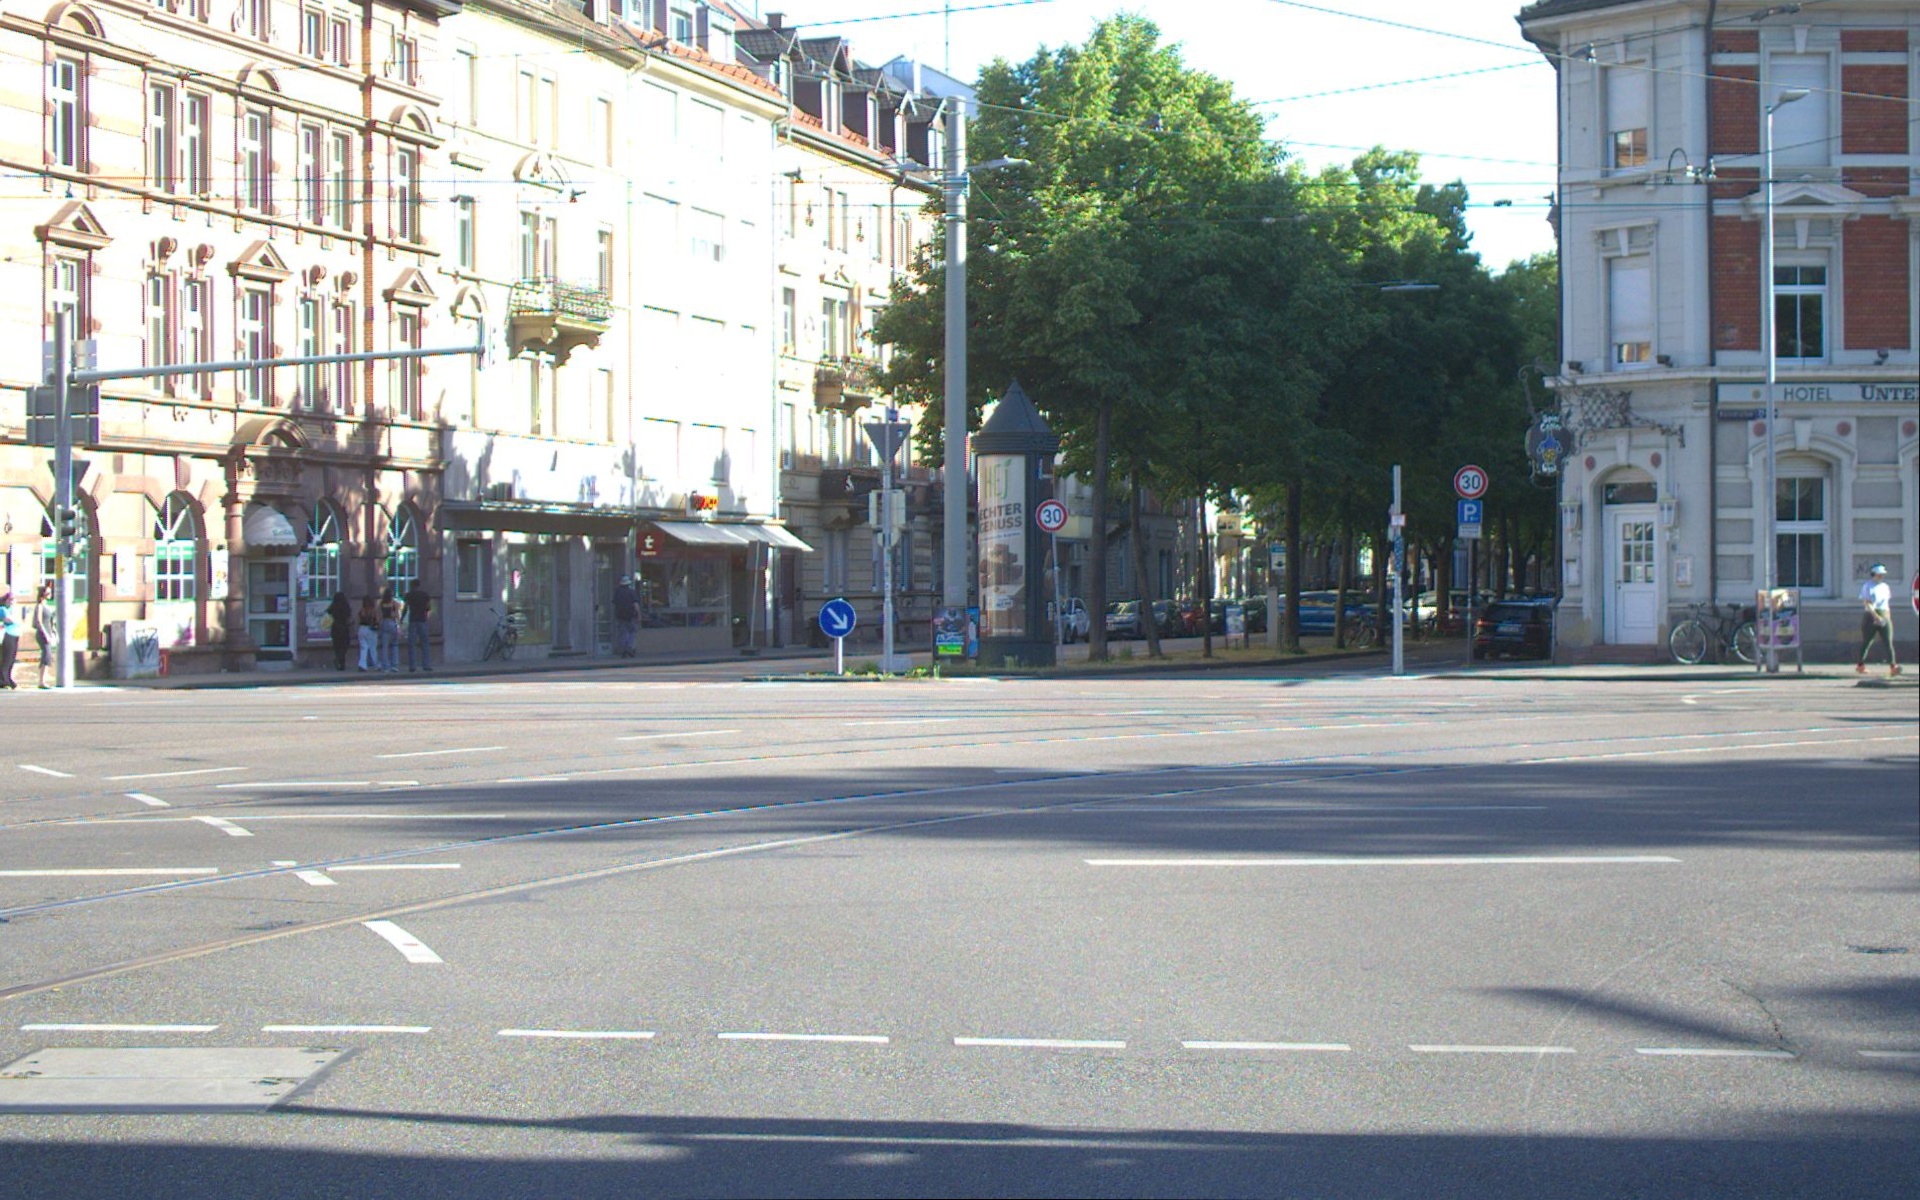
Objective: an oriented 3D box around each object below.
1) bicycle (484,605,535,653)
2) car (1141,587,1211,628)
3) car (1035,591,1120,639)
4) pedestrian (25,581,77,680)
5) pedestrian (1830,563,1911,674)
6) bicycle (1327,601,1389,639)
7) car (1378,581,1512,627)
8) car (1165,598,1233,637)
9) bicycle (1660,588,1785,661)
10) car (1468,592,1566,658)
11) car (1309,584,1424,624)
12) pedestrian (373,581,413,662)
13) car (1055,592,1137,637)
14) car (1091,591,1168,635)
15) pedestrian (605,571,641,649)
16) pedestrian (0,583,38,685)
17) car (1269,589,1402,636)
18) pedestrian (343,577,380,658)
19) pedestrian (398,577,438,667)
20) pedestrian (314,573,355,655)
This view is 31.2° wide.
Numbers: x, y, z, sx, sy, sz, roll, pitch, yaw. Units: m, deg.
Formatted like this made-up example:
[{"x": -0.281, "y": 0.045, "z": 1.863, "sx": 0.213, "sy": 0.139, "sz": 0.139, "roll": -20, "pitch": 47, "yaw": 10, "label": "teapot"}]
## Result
[{"x": -10.378, "y": 0.666, "z": 79.225, "sx": 0.495, "sy": 1.063, "sz": 1.768, "roll": 0, "pitch": 1, "yaw": 16, "label": "bicycle"}, {"x": 8.285, "y": 0.268, "z": 131.477, "sx": 1.995, "sy": 1.492, "sz": 4.031, "roll": 0, "pitch": 1, "yaw": 14, "label": "car"}, {"x": 3.876, "y": 0.483, "z": 112.539, "sx": 1.995, "sy": 1.492, "sz": 4.031, "roll": 0, "pitch": 1, "yaw": 14, "label": "car"}, {"x": -15.045, "y": 0.504, "z": 56.896, "sx": 0.631, "sy": 1.636, "sz": 0.552, "roll": 0, "pitch": 0, "yaw": 13, "label": "pedestrian"}, {"x": 13.774, "y": 0.274, "z": 52.002, "sx": 0.715, "sy": 1.664, "sz": 0.939, "roll": -1, "pitch": 0, "yaw": -33, "label": "pedestrian"}, {"x": 11.439, "y": 0.582, "z": 98.911, "sx": 0.582, "sy": 1.063, "sz": 1.949, "roll": -1, "pitch": 1, "yaw": -37, "label": "bicycle"}, {"x": 16.342, "y": 0.134, "z": 115.893, "sx": 3.994, "sy": 1.540, "sz": 1.997, "roll": 0, "pitch": 1, "yaw": 31, "label": "car"}, {"x": 9.492, "y": 0.672, "z": 136.193, "sx": 1.995, "sy": 1.492, "sz": 4.031, "roll": 0, "pitch": 1, "yaw": 14, "label": "car"}, {"x": 12.597, "y": 0.408, "z": 56.838, "sx": 1.961, "sy": 1.186, "sz": 0.546, "roll": 0, "pitch": 0, "yaw": 5, "label": "bicycle"}, {"x": 13.323, "y": 0.587, "z": 82.075, "sx": 1.995, "sy": 1.492, "sz": 4.031, "roll": 0, "pitch": 1, "yaw": 14, "label": "car"}, {"x": 15.855, "y": 0.152, "z": 134.158, "sx": 3.993, "sy": 1.540, "sz": 1.997, "roll": 0, "pitch": 0, "yaw": 28, "label": "car"}, {"x": -11.477, "y": 0.437, "z": 69.615, "sx": 0.551, "sy": 1.636, "sz": 0.632, "roll": 0, "pitch": 0, "yaw": 17, "label": "pedestrian"}, {"x": 4.655, "y": 0.480, "z": 117.025, "sx": 1.995, "sy": 1.492, "sz": 4.031, "roll": 0, "pitch": 1, "yaw": 14, "label": "car"}, {"x": 6.049, "y": 0.440, "z": 122.260, "sx": 1.995, "sy": 1.492, "sz": 4.031, "roll": 0, "pitch": 1, "yaw": 14, "label": "car"}, {"x": -8.192, "y": 0.240, "z": 83.543, "sx": 0.682, "sy": 1.902, "sz": 0.632, "roll": 0, "pitch": 0, "yaw": 16, "label": "pedestrian"}, {"x": -15.327, "y": 0.544, "z": 55.485, "sx": 0.675, "sy": 1.636, "sz": 0.578, "roll": 0, "pitch": 0, "yaw": 13, "label": "pedestrian"}, {"x": 12.581, "y": 0.410, "z": 115.224, "sx": 3.993, "sy": 1.540, "sz": 1.997, "roll": 0, "pitch": 0, "yaw": 28, "label": "car"}, {"x": -12.120, "y": 0.357, "z": 69.592, "sx": 0.551, "sy": 1.636, "sz": 0.537, "roll": 0, "pitch": 0, "yaw": 17, "label": "pedestrian"}, {"x": -11.092, "y": 0.444, "z": 70.359, "sx": 0.580, "sy": 1.830, "sz": 0.632, "roll": 0, "pitch": 0, "yaw": 16, "label": "pedestrian"}, {"x": -12.680, "y": 0.281, "z": 69.731, "sx": 0.627, "sy": 1.636, "sz": 0.537, "roll": 0, "pitch": 0, "yaw": 18, "label": "pedestrian"}]
